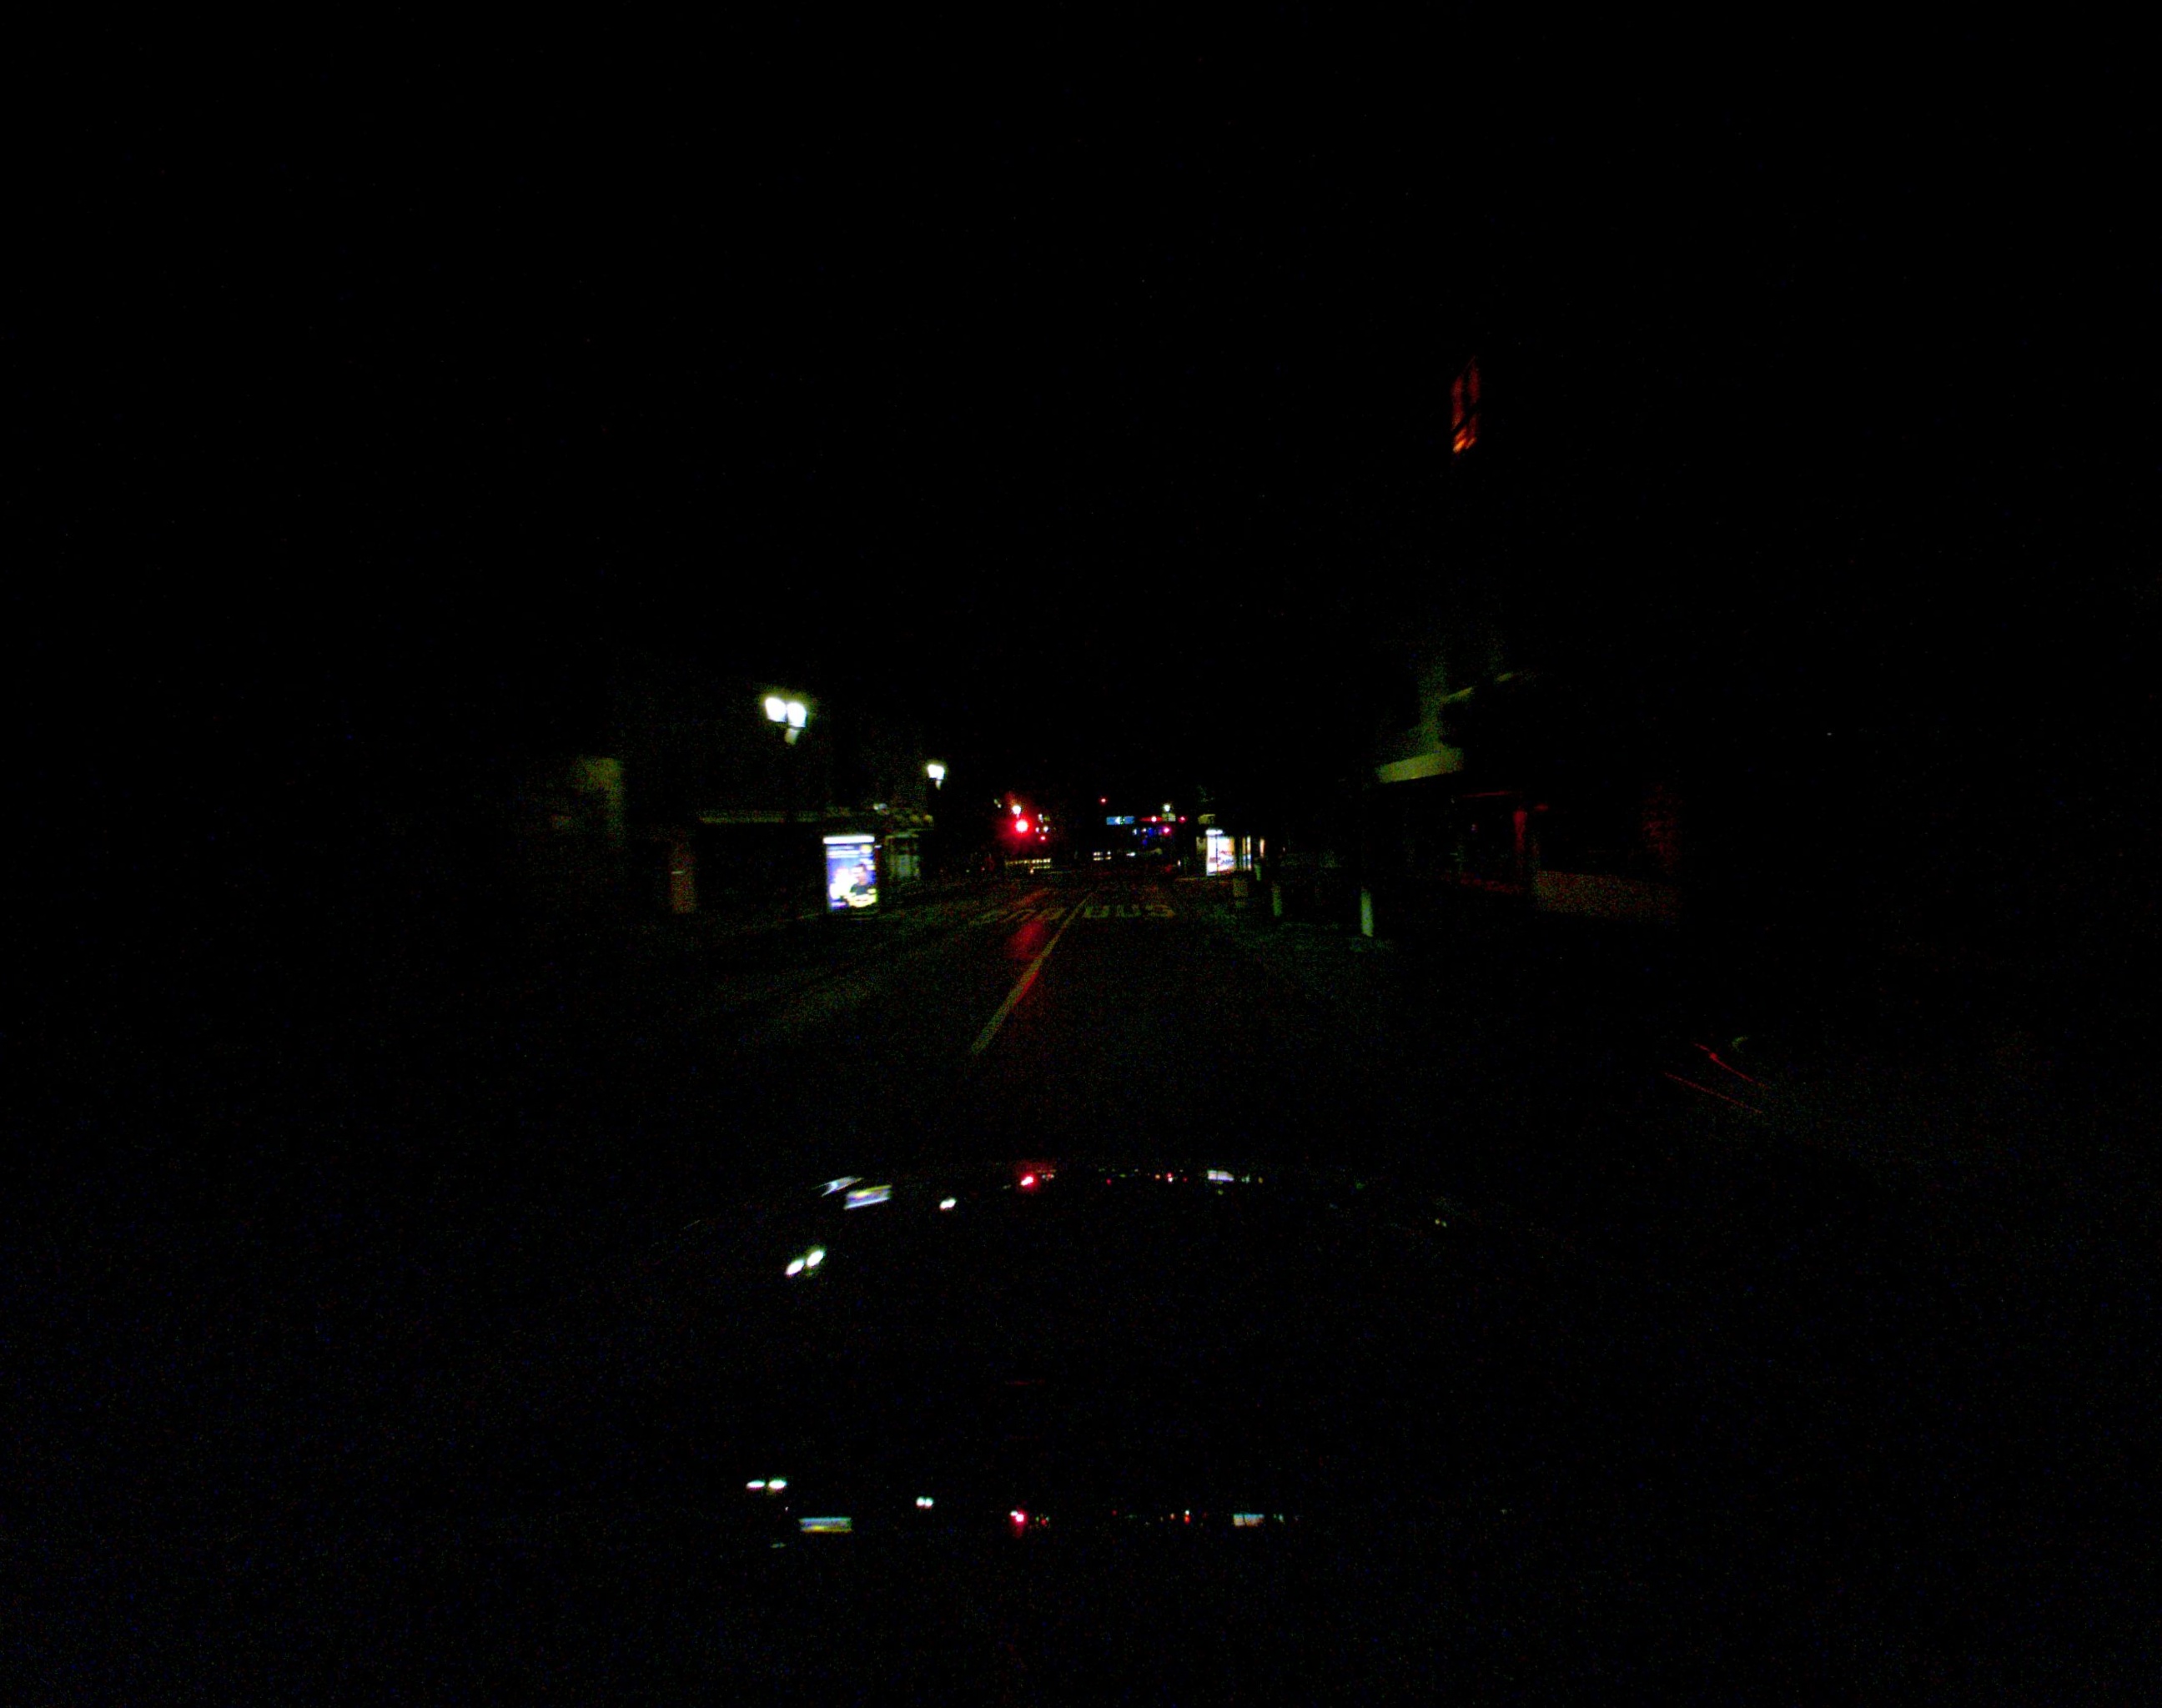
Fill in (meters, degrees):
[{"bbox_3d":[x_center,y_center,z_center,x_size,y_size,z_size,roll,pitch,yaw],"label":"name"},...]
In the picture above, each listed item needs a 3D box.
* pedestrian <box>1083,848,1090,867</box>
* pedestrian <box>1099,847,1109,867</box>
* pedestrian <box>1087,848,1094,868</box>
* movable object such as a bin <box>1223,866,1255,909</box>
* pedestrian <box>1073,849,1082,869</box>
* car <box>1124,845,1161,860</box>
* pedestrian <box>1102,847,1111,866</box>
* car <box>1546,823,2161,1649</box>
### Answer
[{"bbox_3d":[0.527,0.354,77.827,0.566,1.795,0.718,-1,-2,0],"label":"pedestrian"},{"bbox_3d":[2.107,0.276,75.639,0.572,1.795,0.710,0,-2,-37],"label":"pedestrian"},{"bbox_3d":[0.858,0.380,75.783,0.566,1.795,0.718,-1,-2,0],"label":"pedestrian"},{"bbox_3d":[3.541,0.738,18.250,0.523,0.937,0.628,-1,-1,-7],"label":"movable object such as a bin"},{"bbox_3d":[-0.343,0.448,74.738,0.715,1.795,0.568,-1,-2,-5],"label":"pedestrian"},{"bbox_3d":[7.006,-0.150,93.062,3.759,1.618,1.825,-1,-1,-16],"label":"car"},{"bbox_3d":[2.358,0.240,75.017,0.732,1.795,0.718,-1,-2,1],"label":"pedestrian"},{"bbox_3d":[2.842,0.665,1.015,1.851,1.442,4.594,-4,0,0],"label":"car"}]
